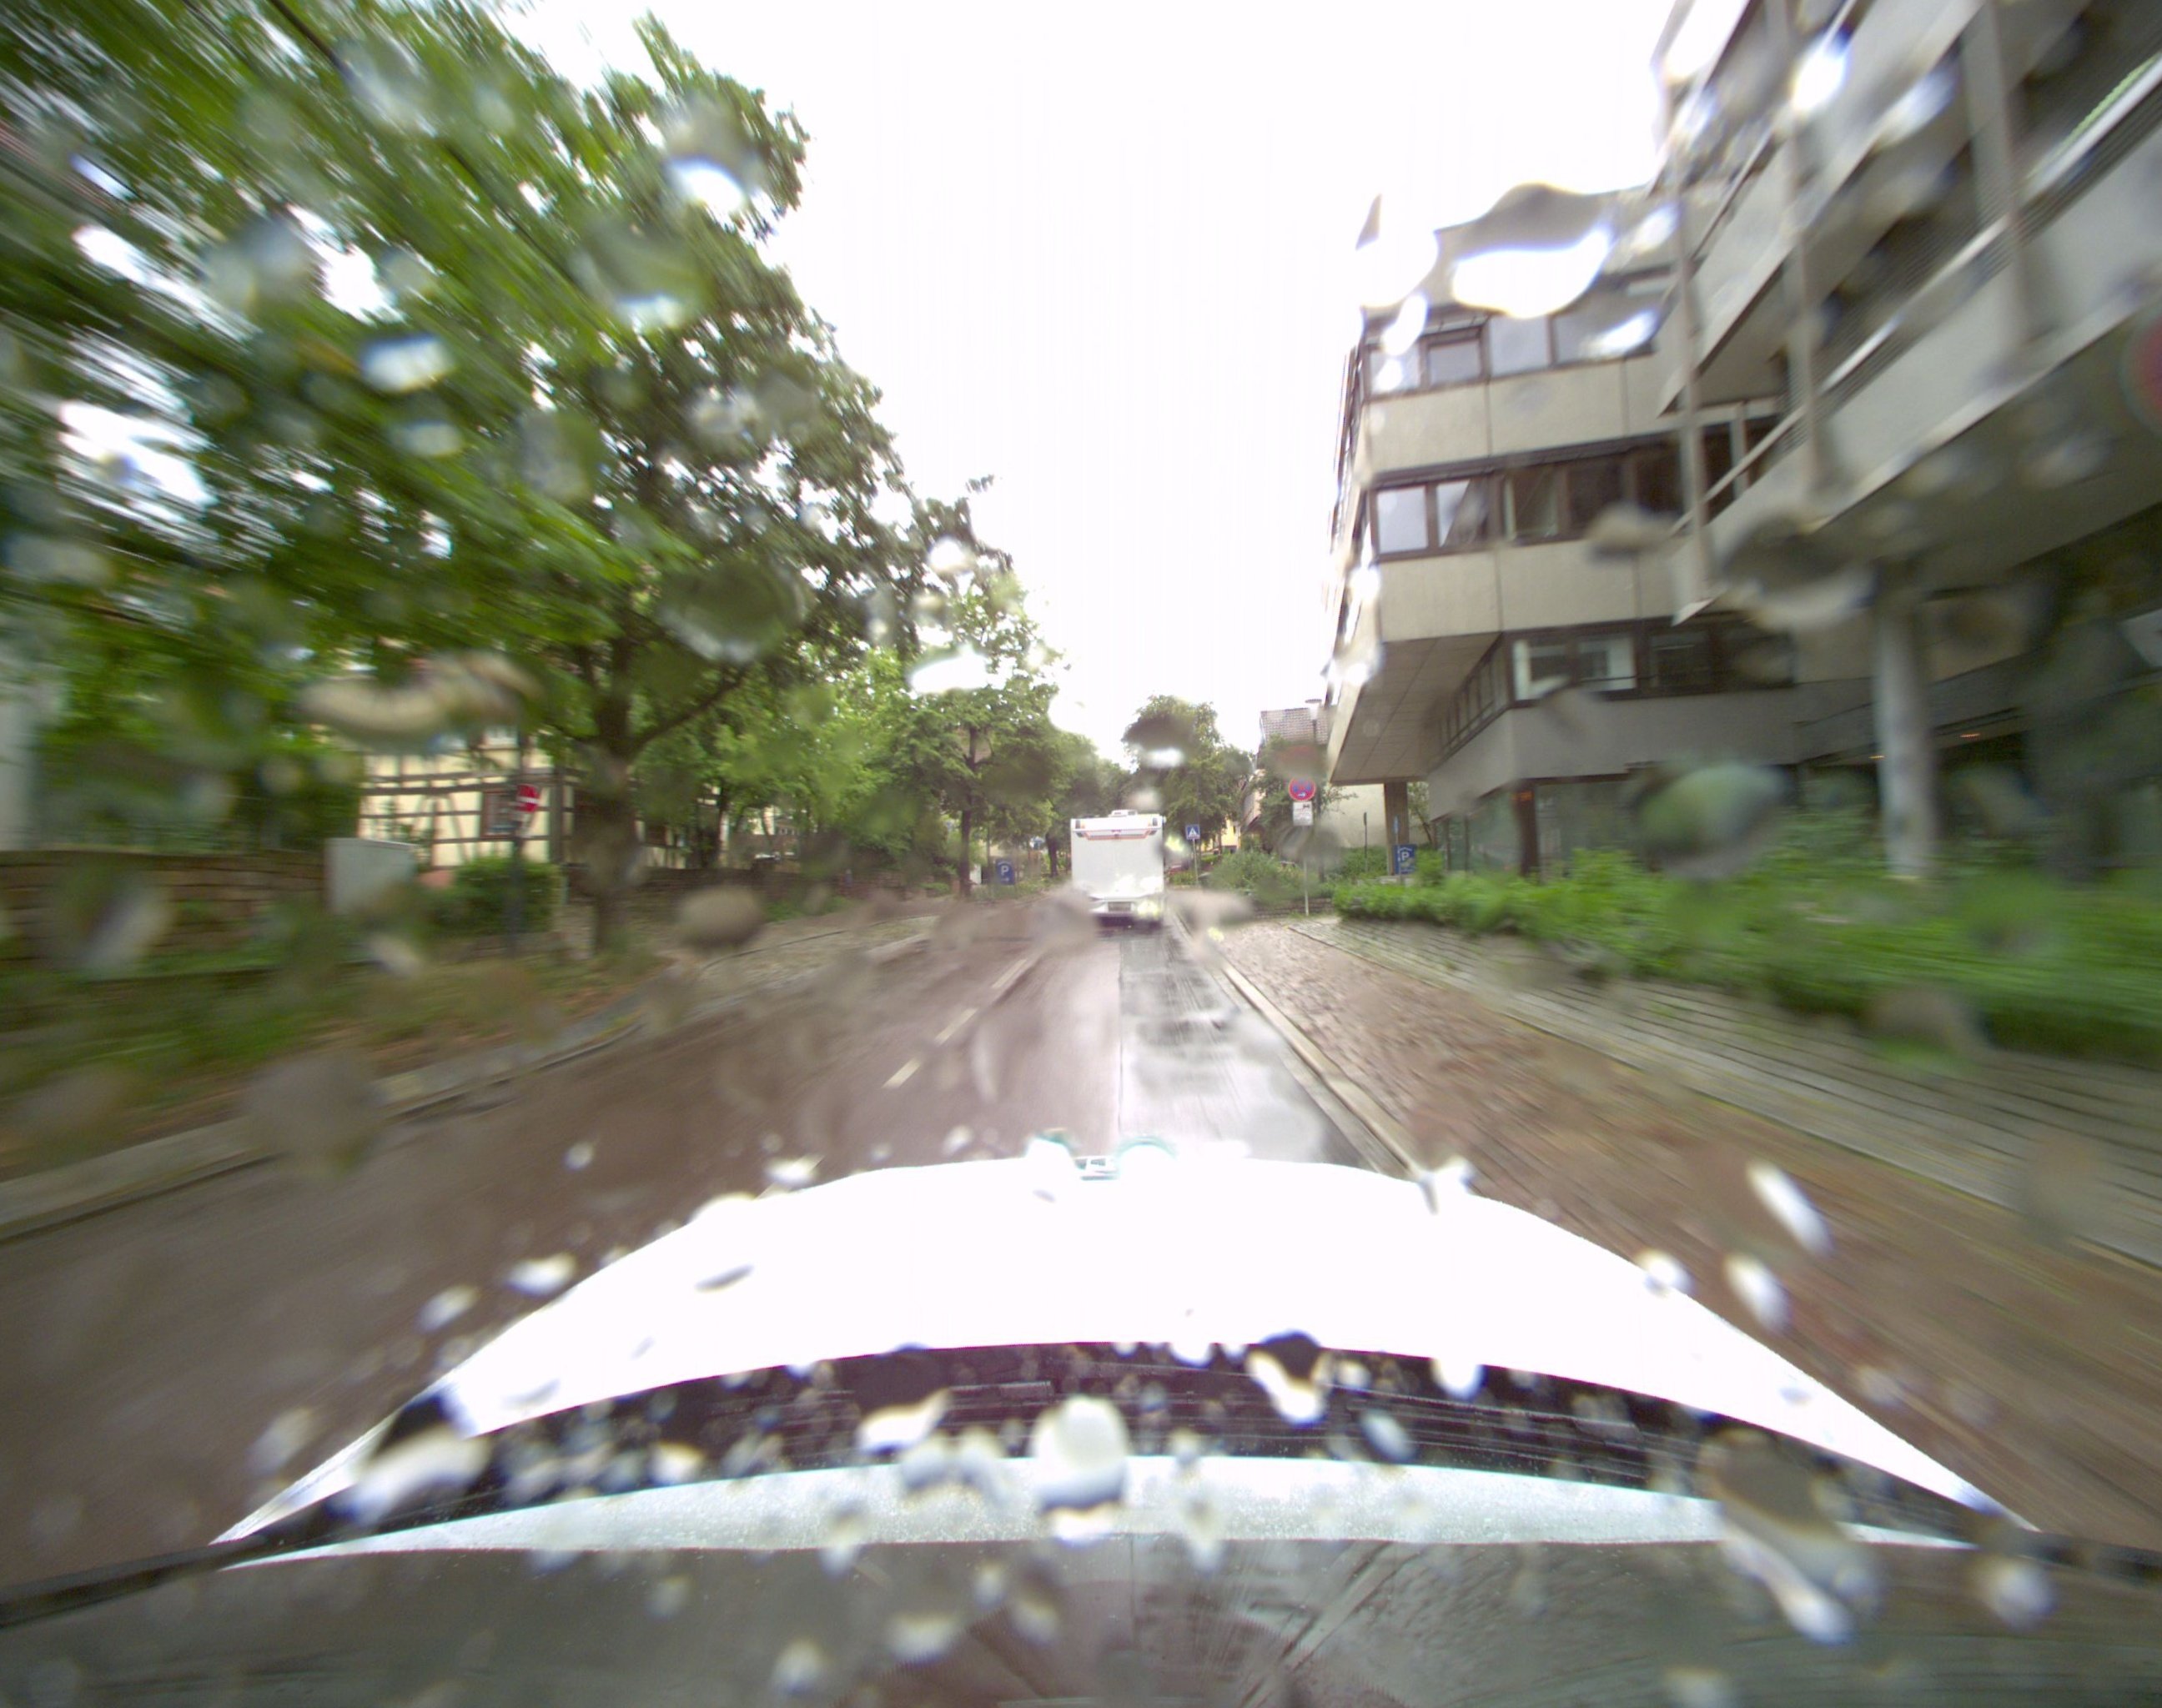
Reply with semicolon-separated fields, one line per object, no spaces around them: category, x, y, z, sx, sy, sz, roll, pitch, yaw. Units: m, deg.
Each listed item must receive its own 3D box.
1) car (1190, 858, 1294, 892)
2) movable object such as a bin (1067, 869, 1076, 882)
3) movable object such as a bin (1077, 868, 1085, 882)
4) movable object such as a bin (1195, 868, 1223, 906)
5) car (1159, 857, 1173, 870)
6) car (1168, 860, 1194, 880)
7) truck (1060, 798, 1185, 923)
car;6.971;0.905;35.550;4.264;1.417;1.842;-1;-1;4
movable object such as a bin;-0.844;1.854;70.909;0.666;1.105;0.818;-2;-2;5
movable object such as a bin;0.001;1.816;70.193;0.666;1.105;0.818;-2;-2;5
movable object such as a bin;3.992;1.027;25.296;0.697;1.124;0.574;-4;-2;21
car;10.780;1.222;103.036;1.641;1.542;3.536;-3;-2;6
car;7.761;1.238;62.972;1.845;1.472;4.375;-1;0;8
truck;1.230;0.248;22.195;2.792;2.797;6.114;-3;-2;5
